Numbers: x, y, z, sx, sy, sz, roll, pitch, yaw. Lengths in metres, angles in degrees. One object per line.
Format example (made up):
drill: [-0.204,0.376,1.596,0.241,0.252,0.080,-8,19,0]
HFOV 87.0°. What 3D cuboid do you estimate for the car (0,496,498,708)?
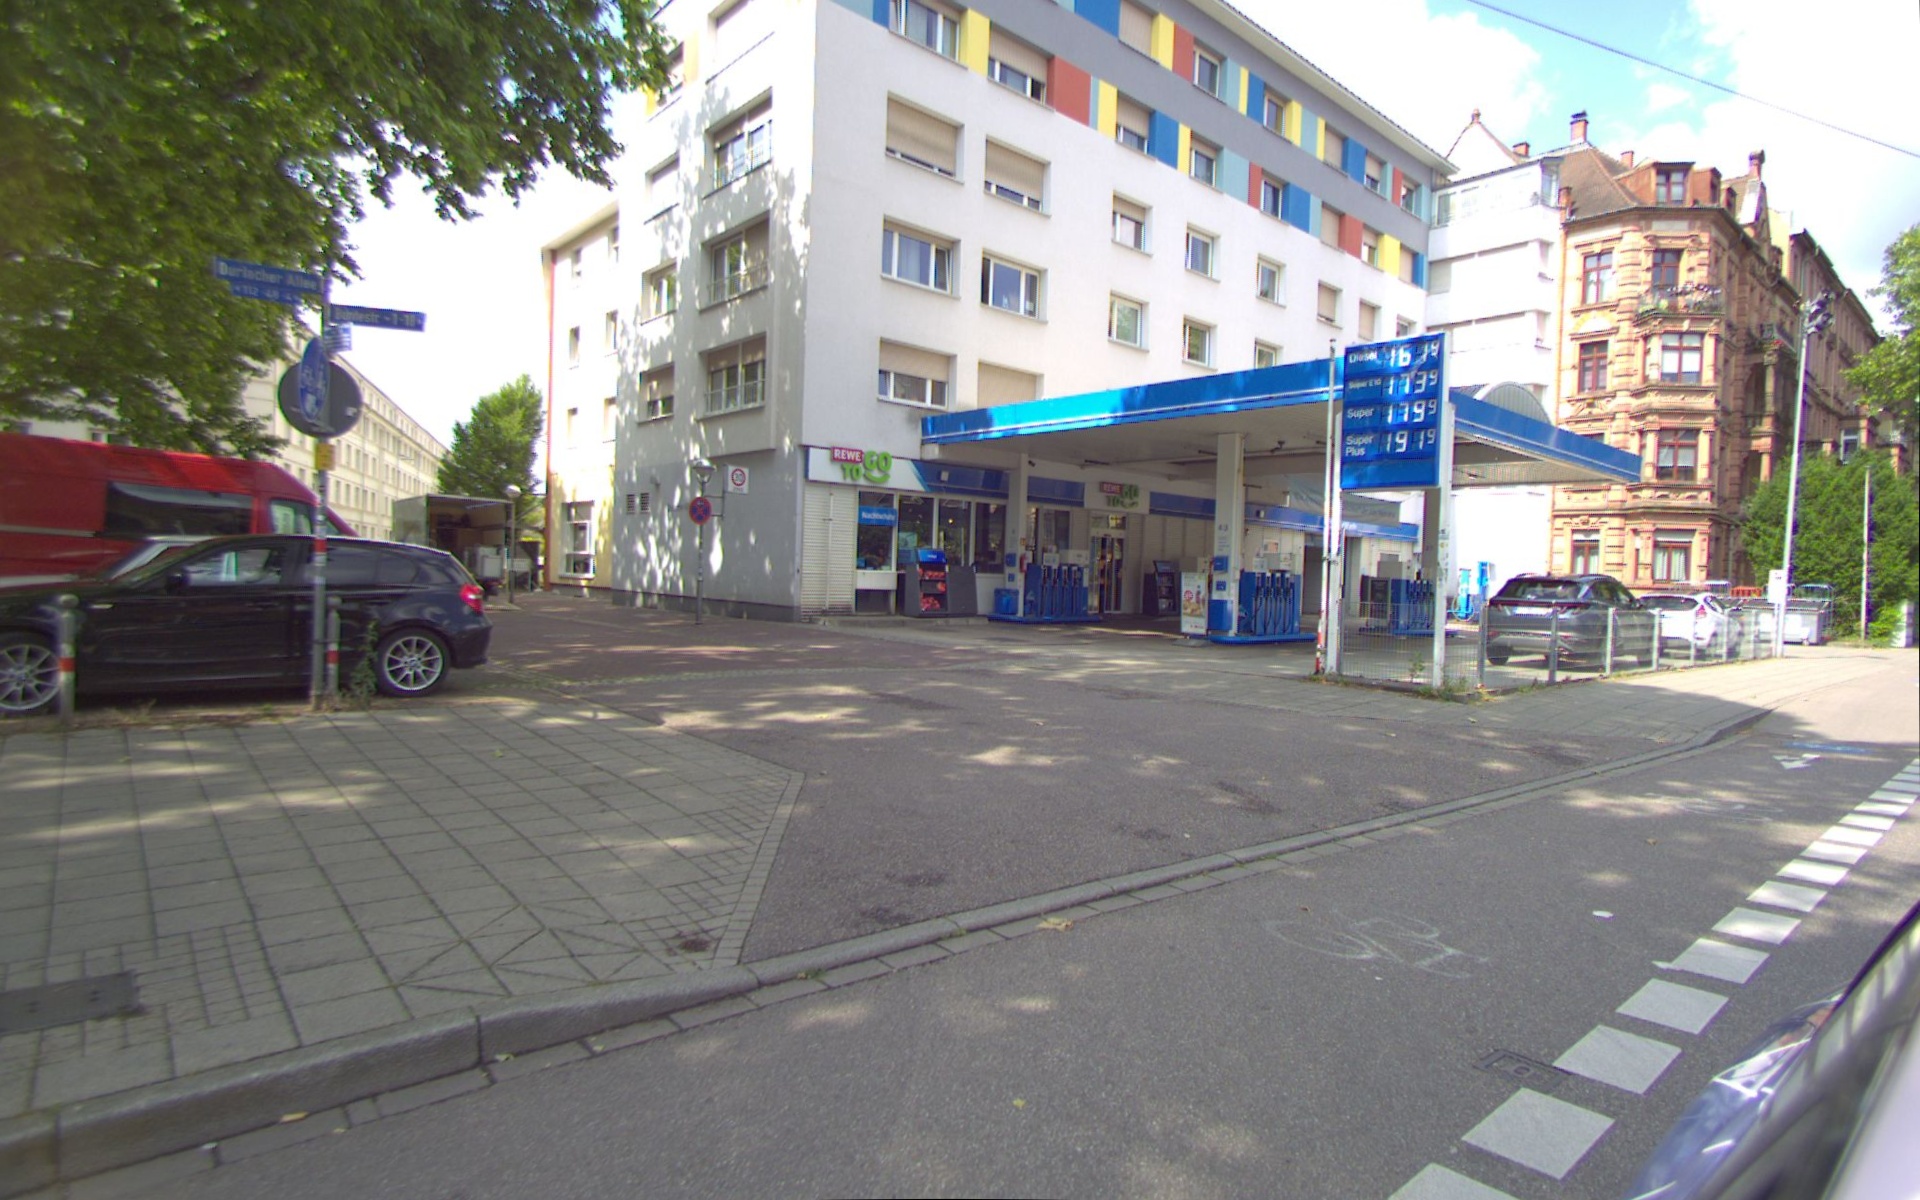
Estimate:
car: [-6.297,-0.012,8.617,3.973,1.488,1.651,1,2,-42]

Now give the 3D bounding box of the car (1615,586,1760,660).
car: [16.424,0.482,22.789,3.932,1.473,1.809,1,1,-42]

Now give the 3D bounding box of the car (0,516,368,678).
car: [-8.491,-0.061,10.299,3.977,1.447,1.650,0,2,-45]

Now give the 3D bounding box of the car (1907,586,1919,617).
car: [62.830,0.269,63.723,4.396,1.962,1.954,7,5,41]

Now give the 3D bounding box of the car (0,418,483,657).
car: [-9.674,-0.709,13.158,5.911,2.614,2.117,1,2,-40]

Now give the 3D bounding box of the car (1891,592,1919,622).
car: [58.816,0.451,60.392,4.717,1.804,1.975,2,1,42]

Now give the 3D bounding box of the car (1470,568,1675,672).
car: [11.111,0.311,18.235,4.501,1.622,1.810,1,1,-40]

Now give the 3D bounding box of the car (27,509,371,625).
car: [-13.110,-0.511,17.713,4.568,1.776,2.011,1,1,-40]
